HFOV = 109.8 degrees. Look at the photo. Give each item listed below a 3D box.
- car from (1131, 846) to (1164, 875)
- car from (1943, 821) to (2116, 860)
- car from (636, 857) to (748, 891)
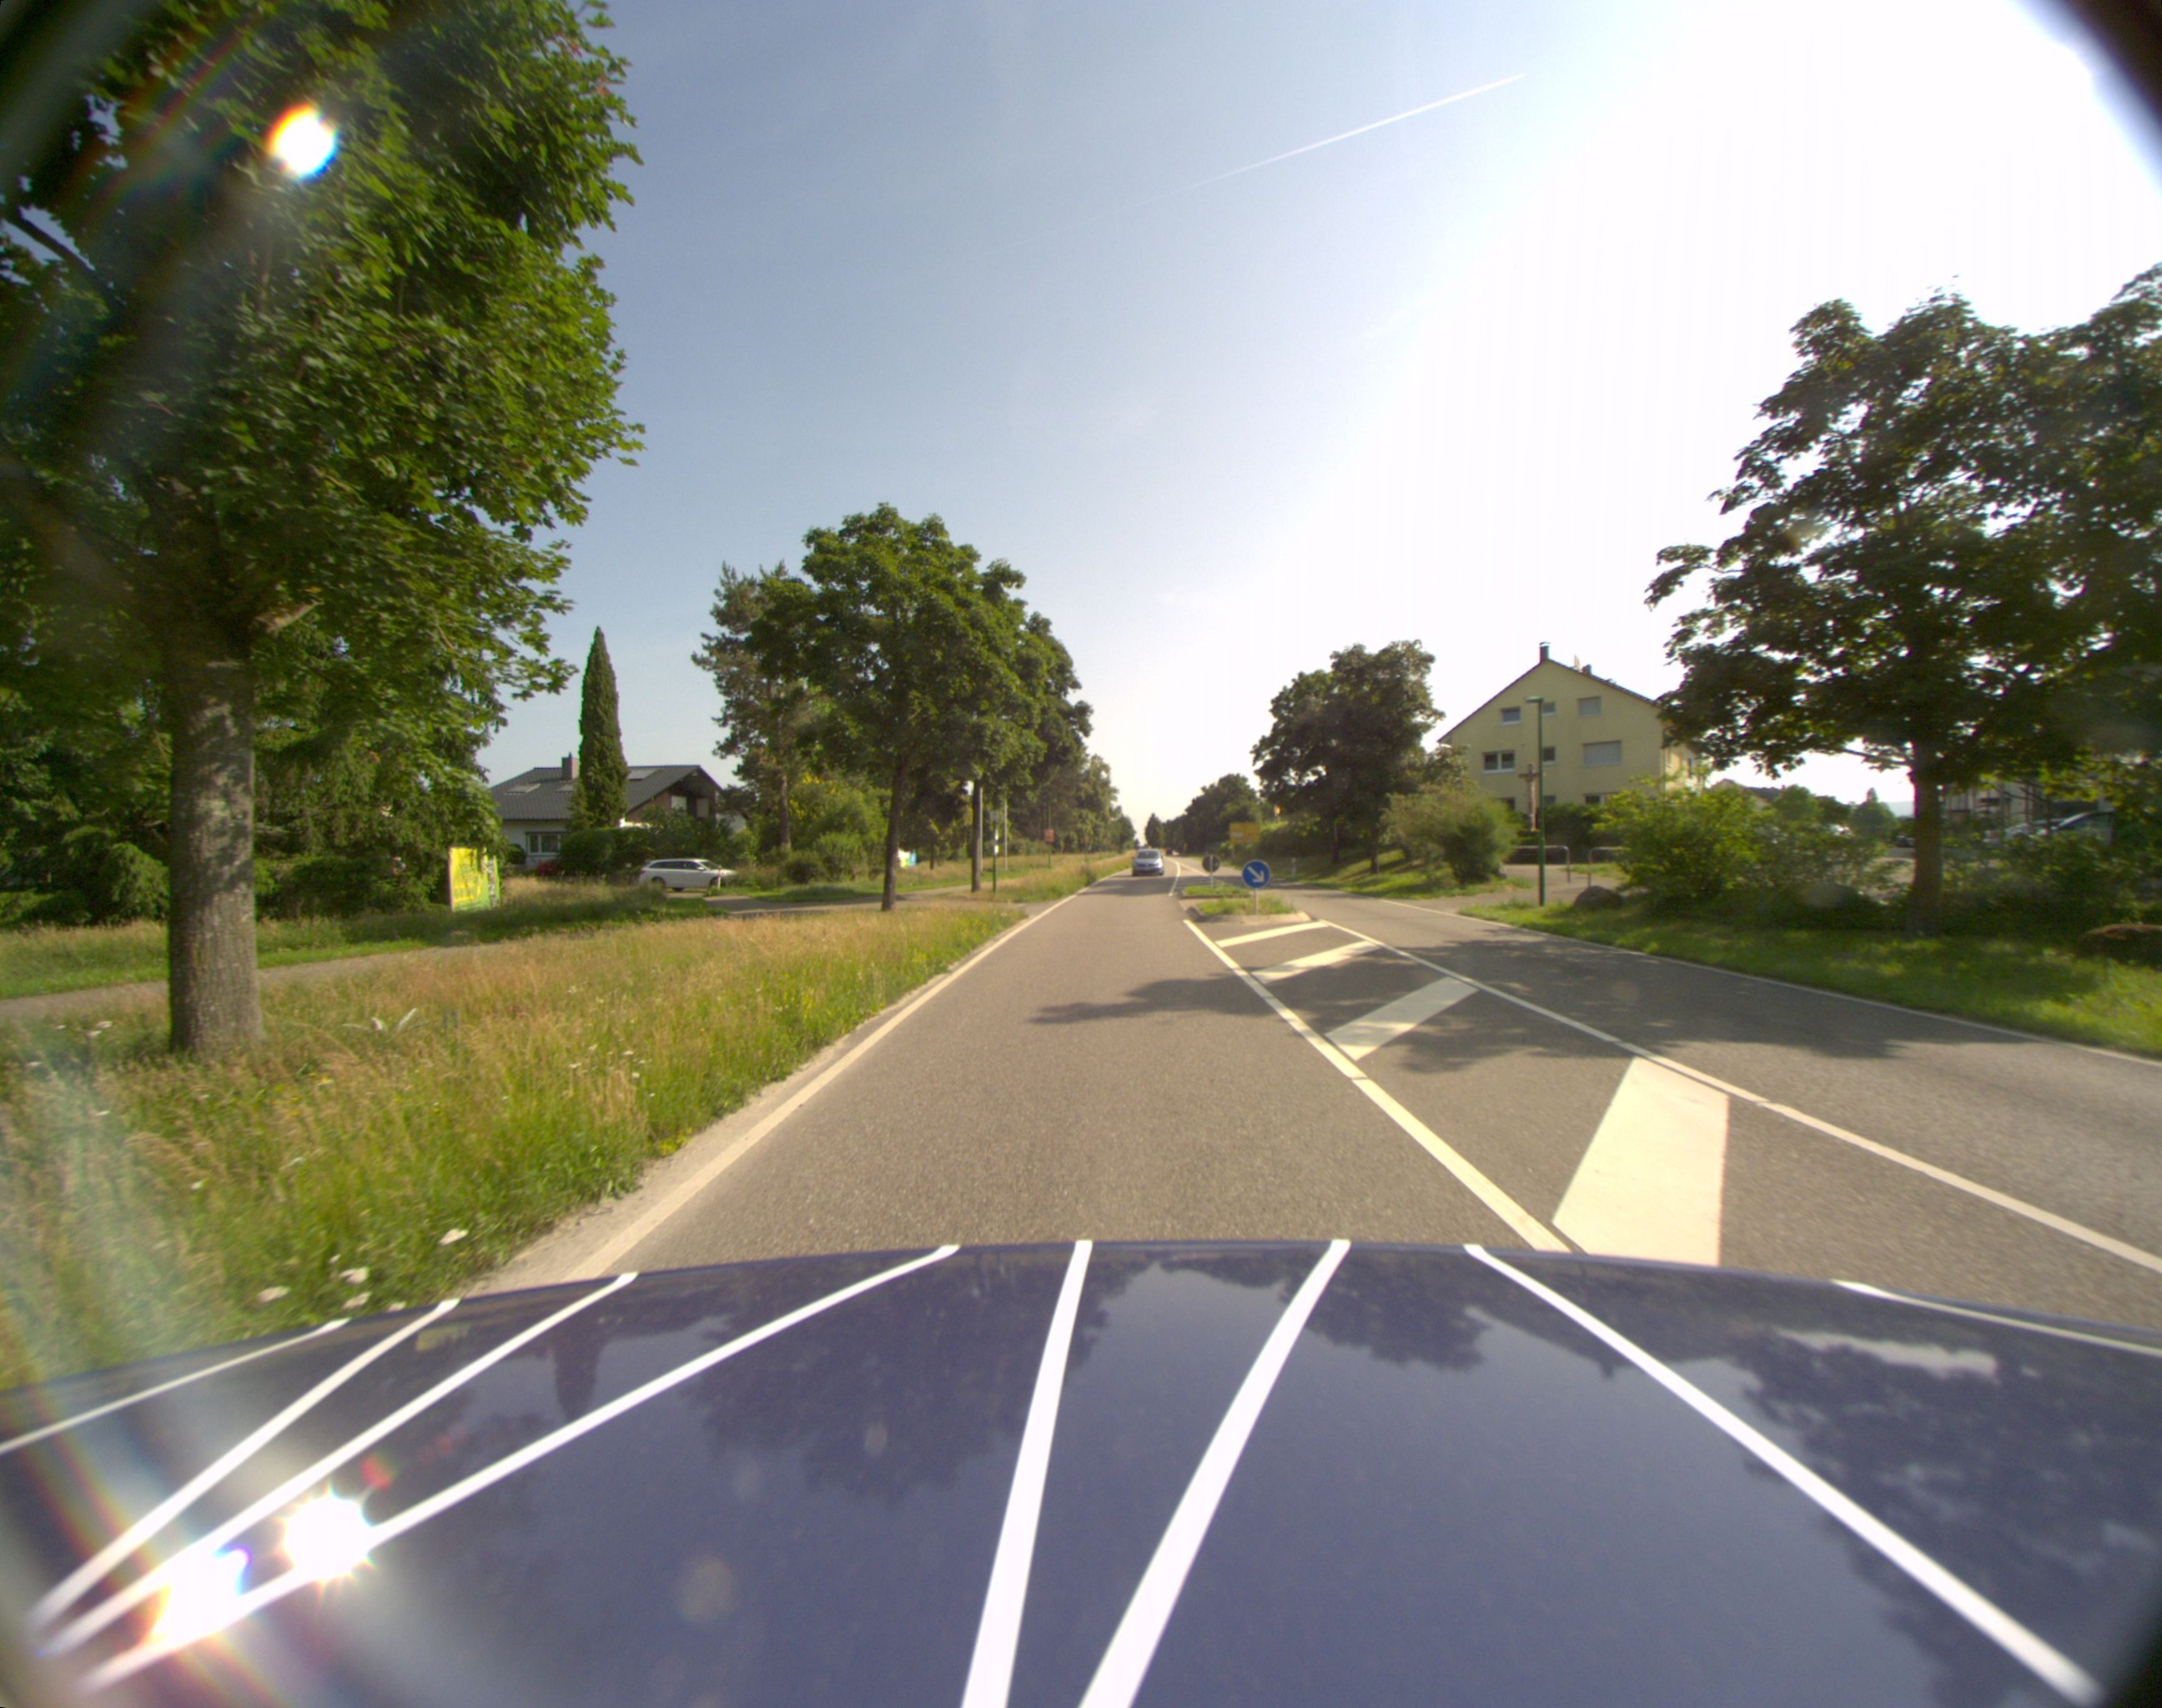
[{"bbox_3d":[3.961,0.344,44.923,1.807,1.592,4.271,-1,0,6],"label":"car"},{"bbox_3d":[36.161,-0.502,29.079,1.816,1.364,4.072,-2,1,-36],"label":"car"},{"bbox_3d":[-17.235,0.870,33.782,3.997,1.426,1.815,-1,1,0],"label":"car"}]
